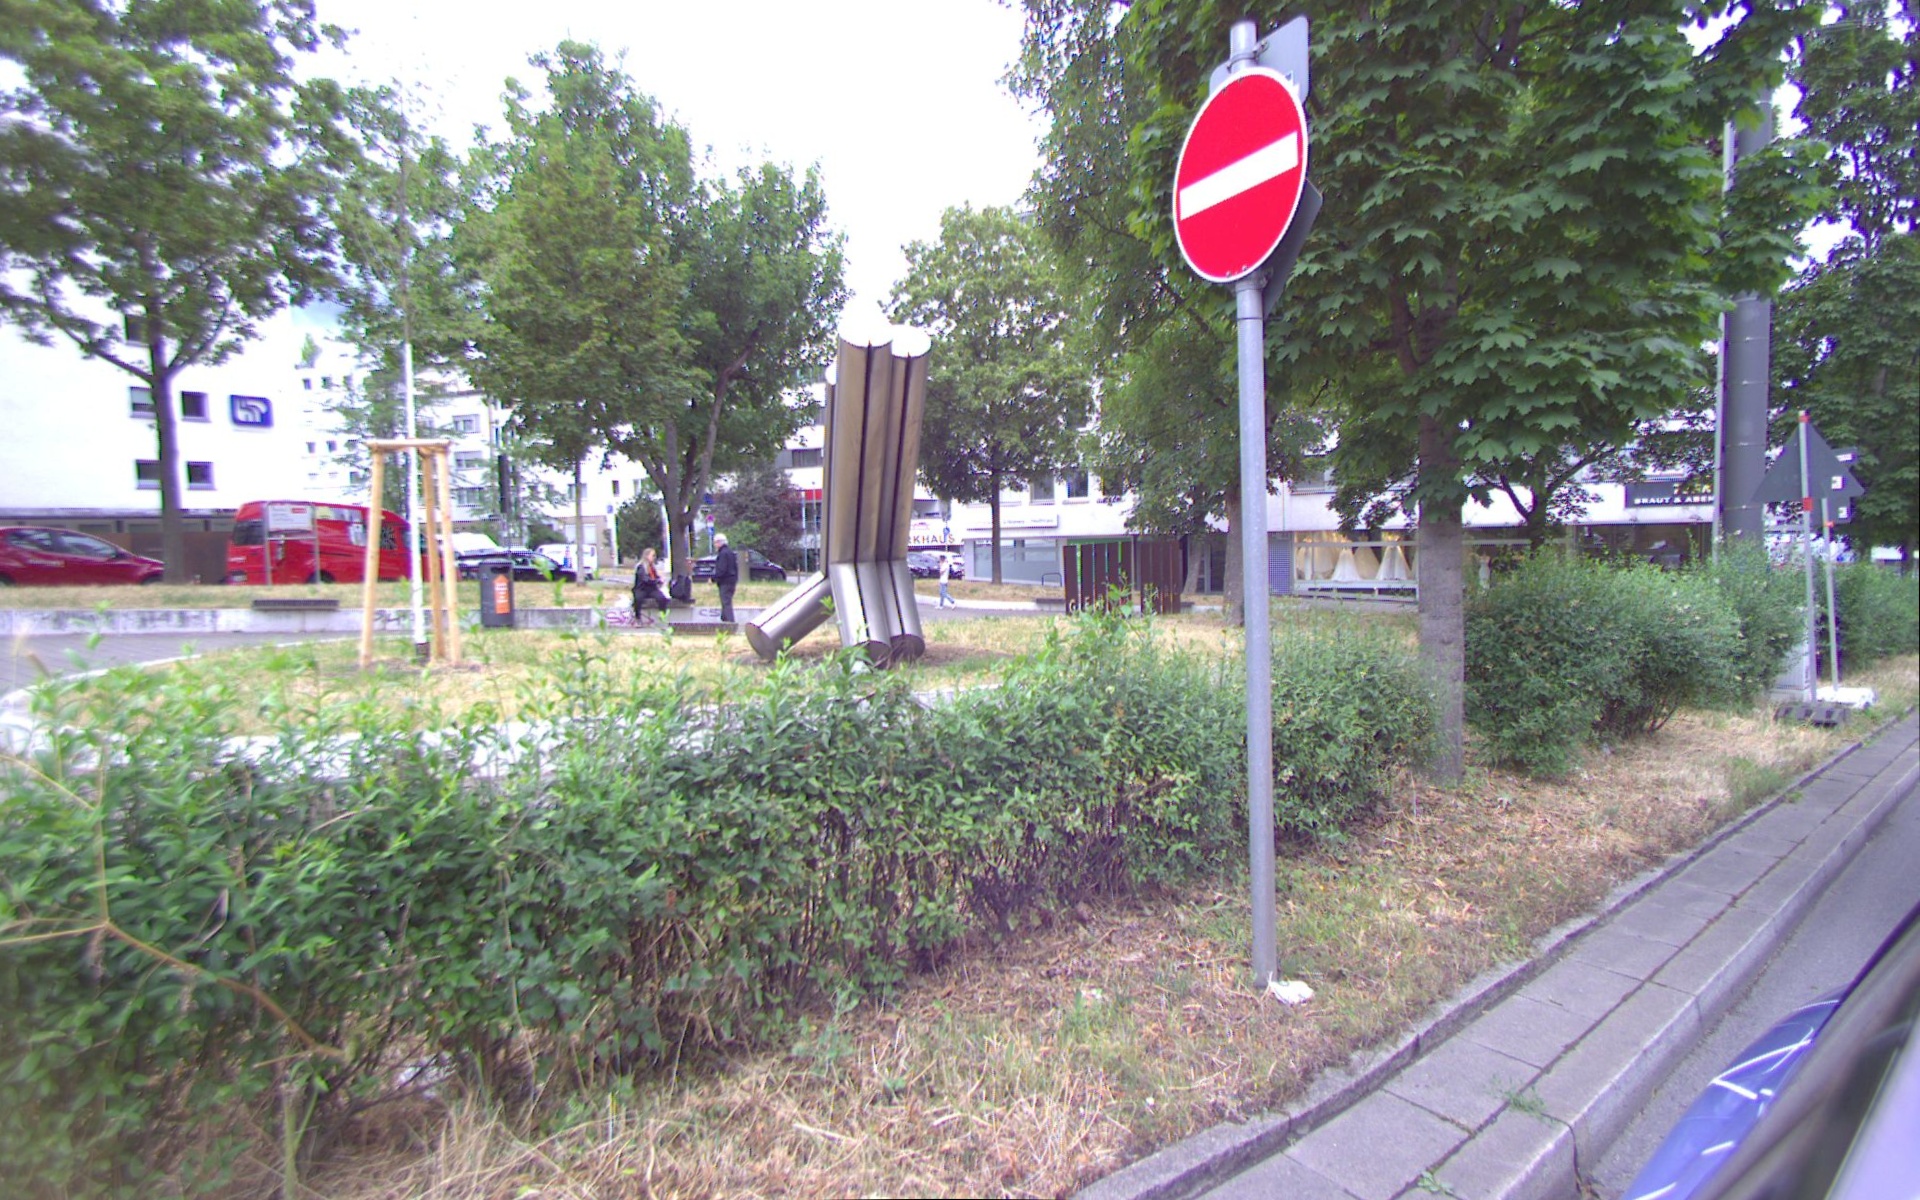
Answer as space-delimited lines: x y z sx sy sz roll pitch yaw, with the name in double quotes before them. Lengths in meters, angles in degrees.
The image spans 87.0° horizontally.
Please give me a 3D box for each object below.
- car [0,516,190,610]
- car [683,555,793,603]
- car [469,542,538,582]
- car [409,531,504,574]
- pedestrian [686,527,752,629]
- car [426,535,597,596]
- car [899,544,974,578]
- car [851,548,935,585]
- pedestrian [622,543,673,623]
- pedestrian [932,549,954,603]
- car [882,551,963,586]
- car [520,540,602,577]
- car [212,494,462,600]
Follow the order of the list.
"car" -16.667 -0.685 18.594 1.728 1.584 3.691 2 2 21
"car" -8.700 -0.838 40.109 1.977 1.762 4.750 2 2 22
"car" -27.412 -2.299 60.771 3.968 2.272 1.985 2 2 34
"car" -23.793 -2.250 47.766 4.581 1.900 2.078 2 2 34
"pedestrian" -3.961 -0.370 16.687 0.719 1.622 0.786 2 2 25
"car" -12.779 -0.988 29.127 1.977 1.584 4.384 2 2 22
"car" -1.338 -2.105 55.912 3.976 1.708 1.667 -1 0 37
"car" -3.390 -1.708 51.071 3.982 1.738 1.972 3 3 39
"pedestrian" -5.233 -0.286 16.931 0.672 1.308 0.657 0 2 -32
"pedestrian" -0.502 -0.697 29.641 0.517 1.552 0.675 1 2 -11
"car" -2.027 -1.696 53.739 3.982 1.738 1.972 3 3 39
"car" -22.505 -2.342 56.968 4.759 1.969 2.198 3 2 38
"car" -14.624 -1.216 24.136 2.101 2.240 4.862 2 2 20
